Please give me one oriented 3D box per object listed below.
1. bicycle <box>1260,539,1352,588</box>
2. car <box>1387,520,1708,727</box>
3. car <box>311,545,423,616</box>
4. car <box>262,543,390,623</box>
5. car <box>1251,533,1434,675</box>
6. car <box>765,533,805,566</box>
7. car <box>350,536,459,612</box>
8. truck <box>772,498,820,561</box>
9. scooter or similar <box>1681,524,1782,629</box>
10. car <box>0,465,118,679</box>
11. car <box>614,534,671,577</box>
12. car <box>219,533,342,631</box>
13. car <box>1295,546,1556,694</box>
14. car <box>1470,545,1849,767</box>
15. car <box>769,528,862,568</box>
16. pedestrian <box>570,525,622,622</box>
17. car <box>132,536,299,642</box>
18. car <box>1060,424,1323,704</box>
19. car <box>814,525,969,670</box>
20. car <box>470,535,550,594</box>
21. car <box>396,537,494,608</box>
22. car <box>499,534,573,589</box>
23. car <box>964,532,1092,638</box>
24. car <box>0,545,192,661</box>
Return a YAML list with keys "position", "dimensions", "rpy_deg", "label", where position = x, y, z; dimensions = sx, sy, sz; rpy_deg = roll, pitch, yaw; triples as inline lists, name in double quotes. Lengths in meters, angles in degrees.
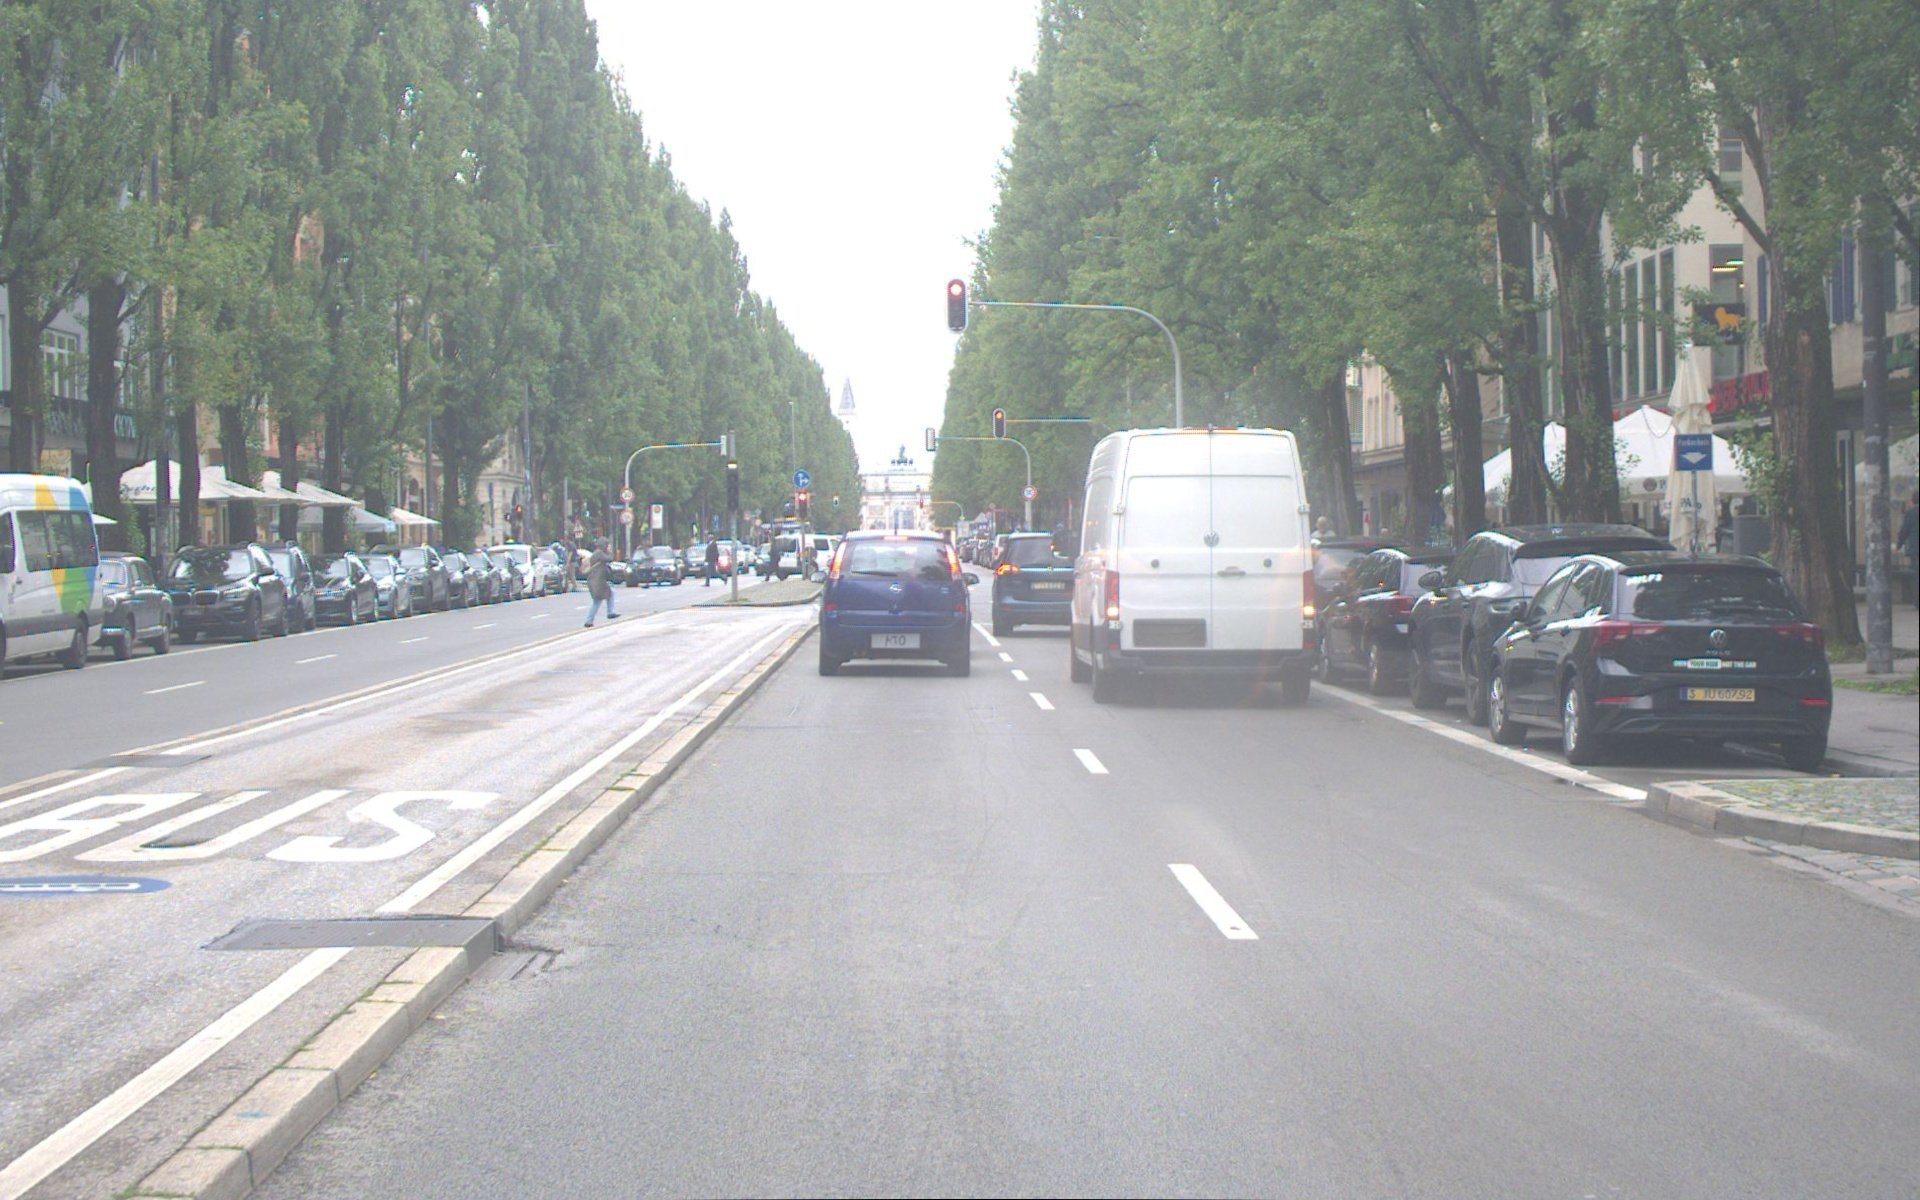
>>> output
- position: [8.809, -0.941, 87.540]
  dimensions: [2.227, 1.200, 0.627]
  rpy_deg: [-1, 1, -2]
  label: "bicycle"
- position: [4.945, 0.146, 29.521]
  dimensions: [1.803, 1.632, 4.448]
  rpy_deg: [0, 1, -2]
  label: "car"
- position: [-12.941, -0.441, 75.250]
  dimensions: [1.733, 1.421, 4.144]
  rpy_deg: [-2, 1, -1]
  label: "car"
- position: [-12.883, -0.372, 70.085]
  dimensions: [1.798, 1.483, 4.351]
  rpy_deg: [-2, 1, -1]
  label: "car"
- position: [4.263, 0.015, 38.638]
  dimensions: [1.592, 1.513, 2.730]
  rpy_deg: [1, 1, -3]
  label: "car"
- position: [-8.016, -2.326, 157.705]
  dimensions: [1.735, 1.460, 3.365]
  rpy_deg: [-1, 1, -1]
  label: "car"
- position: [-13.030, -0.636, 80.835]
  dimensions: [1.866, 1.660, 4.401]
  rpy_deg: [-2, 1, -1]
  label: "car"
- position: [-8.882, -3.830, 186.650]
  dimensions: [2.383, 3.335, 7.111]
  rpy_deg: [-1, 1, -1]
  label: "truck"
- position: [10.786, -0.348, 48.156]
  dimensions: [0.636, 1.371, 2.496]
  rpy_deg: [-2, 2, -4]
  label: "scooter or similar"
- position: [-12.540, -0.356, 43.650]
  dimensions: [2.005, 2.559, 6.912]
  rpy_deg: [-2, 1, -1]
  label: "car"
- position: [-11.626, -1.655, 126.085]
  dimensions: [1.697, 1.457, 4.713]
  rpy_deg: [-2, 1, -1]
  label: "car"
- position: [-12.689, -0.359, 64.392]
  dimensions: [1.709, 1.715, 3.923]
  rpy_deg: [-2, 1, -4]
  label: "car"
- position: [4.652, 0.161, 34.937]
  dimensions: [1.709, 1.388, 4.344]
  rpy_deg: [0, 1, -5]
  label: "car"
- position: [4.832, 0.331, 24.273]
  dimensions: [1.694, 1.411, 3.952]
  rpy_deg: [0, 1, -3]
  label: "car"
- position: [-5.900, -2.125, 140.457]
  dimensions: [3.353, 1.555, 1.741]
  rpy_deg: [-1, 1, -24]
  label: "car"
- position: [-6.360, -0.470, 60.049]
  dimensions: [0.859, 1.678, 0.627]
  rpy_deg: [-1, 1, -4]
  label: "pedestrian"
- position: [-12.673, -0.228, 58.798]
  dimensions: [1.866, 1.658, 4.611]
  rpy_deg: [-2, 1, -1]
  label: "car"
- position: [2.161, -0.394, 33.972]
  dimensions: [2.063, 2.484, 6.731]
  rpy_deg: [0, 1, -1]
  label: "car"
- position: [-0.771, -0.067, 39.153]
  dimensions: [1.671, 1.563, 4.000]
  rpy_deg: [0, 1, -1]
  label: "car"
- position: [-13.455, -1.088, 102.981]
  dimensions: [1.866, 1.660, 4.120]
  rpy_deg: [-2, 1, -1]
  label: "car"
- position: [-13.061, -0.721, 87.371]
  dimensions: [1.866, 1.660, 4.120]
  rpy_deg: [-2, 1, -1]
  label: "car"
- position: [-13.582, -1.251, 110.255]
  dimensions: [1.866, 1.660, 4.120]
  rpy_deg: [-2, 1, -1]
  label: "car"
- position: [1.038, -0.267, 54.339]
  dimensions: [1.896, 1.616, 4.000]
  rpy_deg: [0, 1, -1]
  label: "car"
- position: [-12.746, 0.003, 50.696]
  dimensions: [1.866, 1.546, 4.415]
  rpy_deg: [-2, 1, -1]
  label: "car"
